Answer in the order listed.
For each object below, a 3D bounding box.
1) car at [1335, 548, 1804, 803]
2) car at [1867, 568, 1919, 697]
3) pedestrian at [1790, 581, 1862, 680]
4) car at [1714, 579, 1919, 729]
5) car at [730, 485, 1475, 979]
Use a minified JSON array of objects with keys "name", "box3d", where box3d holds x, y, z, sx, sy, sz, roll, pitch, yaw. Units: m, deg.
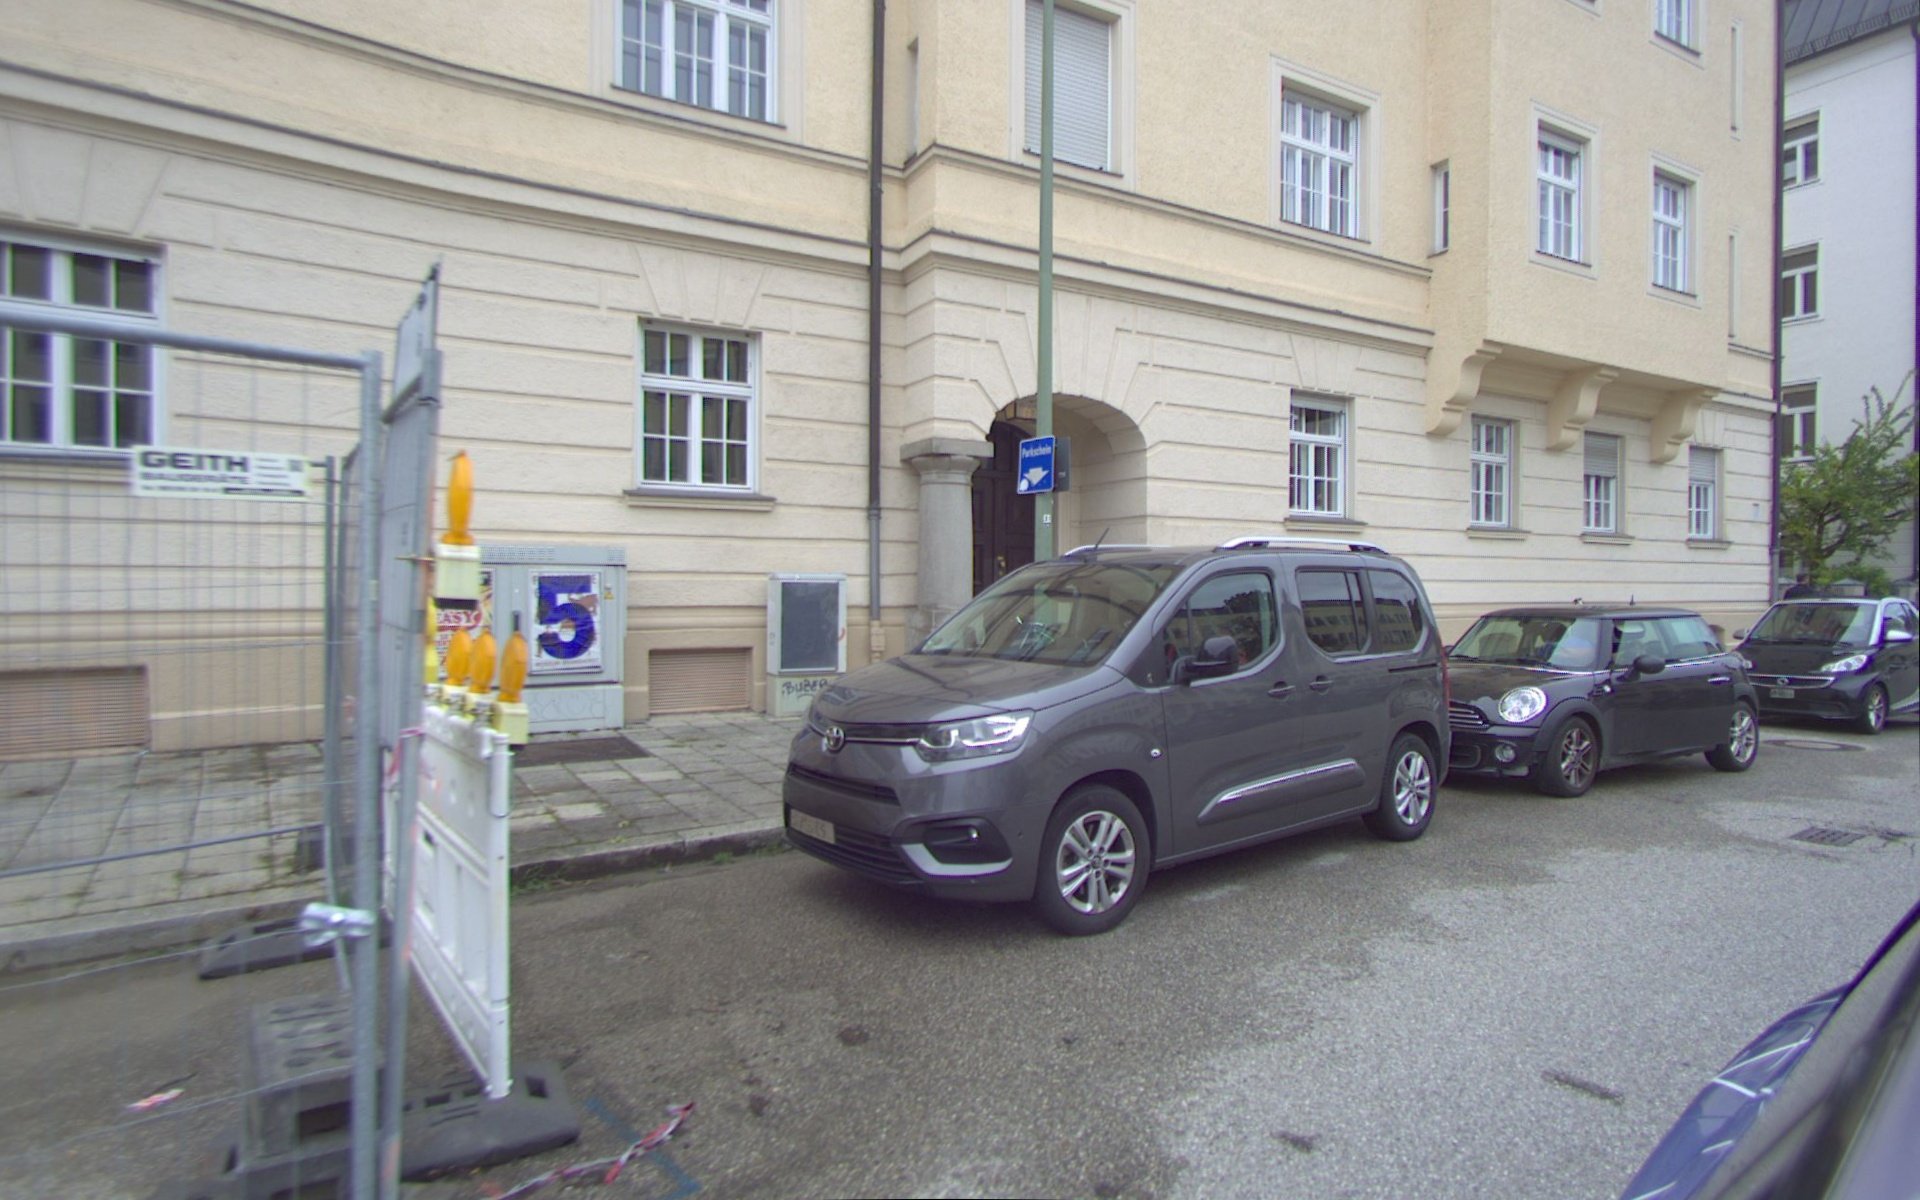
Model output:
[{"name":"car","box3d":[5.242,0.501,8.675,3.655,1.752,1.844,-1,0,-29]},{"name":"car","box3d":[15.231,0.457,14.487,4.592,1.752,1.936,1,-1,-29]},{"name":"pedestrian","box3d":[16.014,0.557,18.725,0.680,1.783,0.685,-1,-1,2]},{"name":"car","box3d":[10.613,0.564,12.053,2.804,1.577,1.514,-1,-1,-27]},{"name":"car","box3d":[1.022,0.470,5.774,4.162,1.822,1.840,-1,-1,-39]}]
